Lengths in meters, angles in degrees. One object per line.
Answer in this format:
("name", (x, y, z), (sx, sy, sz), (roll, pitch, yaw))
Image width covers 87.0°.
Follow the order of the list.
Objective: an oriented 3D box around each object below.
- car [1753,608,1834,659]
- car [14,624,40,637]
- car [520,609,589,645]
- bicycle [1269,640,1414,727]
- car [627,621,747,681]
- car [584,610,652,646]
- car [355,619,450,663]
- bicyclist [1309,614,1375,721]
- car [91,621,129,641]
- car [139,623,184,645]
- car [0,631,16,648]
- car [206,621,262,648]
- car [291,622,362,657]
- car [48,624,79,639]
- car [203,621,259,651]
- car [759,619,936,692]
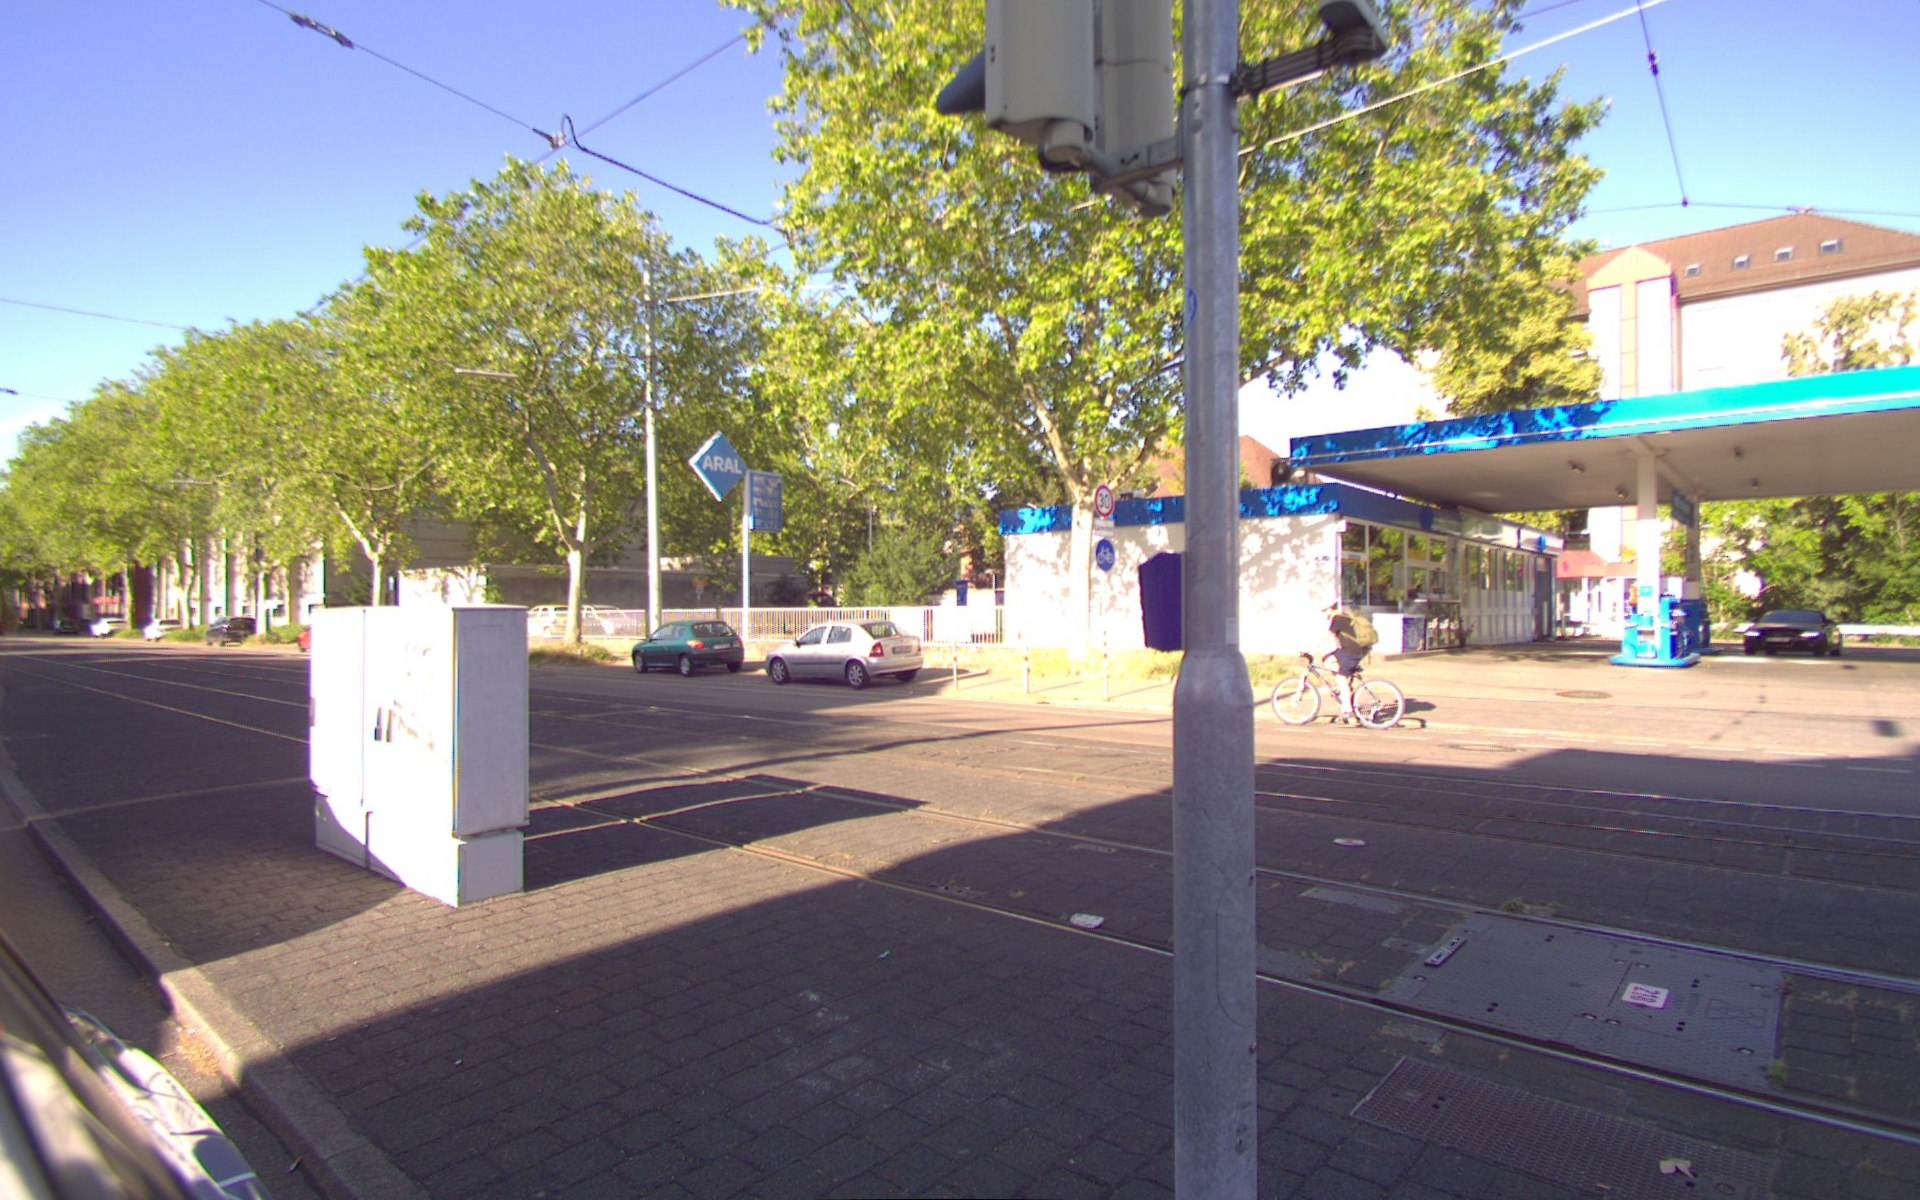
("car", (23.585, 0.903, 28.618), (1.665, 1.309, 3.433), (-1, 0, 41))
("car", (-103.188, 3.391, 111.942), (3.998, 1.420, 1.678), (-1, -2, 41))
("car", (-16.831, 1.098, 41.978), (3.151, 1.431, 1.525), (-1, 0, 44))
("bicycle", (5.100, 1.091, 13.571), (1.783, 1.078, 0.570), (-1, 0, 24))
("car", (-7.272, 1.303, 26.843), (3.253, 1.431, 1.526), (-1, 0, 41))
("car", (-14.724, 1.177, 43.497), (3.151, 1.431, 1.525), (-1, 0, 44))
("car", (-22.167, 1.574, 40.203), (4.431, 1.534, 1.731), (-1, 3, 40))
("bicyclist", (5.118, 0.883, 13.542), (0.797, 1.376, 0.556), (-1, 0, 23))
("car", (-66.808, 2.417, 79.550), (3.998, 1.569, 1.678), (-1, -2, 41))
("car", (-53.807, 2.293, 68.202), (3.998, 1.420, 1.678), (-1, -2, 41))
("car", (-91.742, 3.741, 96.573), (4.761, 1.534, 1.887), (-1, -2, 40))
("car", (-40.597, 1.890, 56.578), (3.998, 1.420, 1.678), (-1, -2, 41))
("car", (-28.977, 1.772, 46.232), (3.998, 1.480, 1.678), (0, -1, 41))
("car", (-85.179, 2.976, 96.166), (3.998, 1.420, 1.678), (-1, -2, 41))
("car", (-40.732, 1.982, 56.537), (3.998, 1.587, 1.678), (-1, -2, 41))
("car", (-2.578, 1.176, 22.639), (3.998, 1.431, 1.709), (-1, 0, 41))
